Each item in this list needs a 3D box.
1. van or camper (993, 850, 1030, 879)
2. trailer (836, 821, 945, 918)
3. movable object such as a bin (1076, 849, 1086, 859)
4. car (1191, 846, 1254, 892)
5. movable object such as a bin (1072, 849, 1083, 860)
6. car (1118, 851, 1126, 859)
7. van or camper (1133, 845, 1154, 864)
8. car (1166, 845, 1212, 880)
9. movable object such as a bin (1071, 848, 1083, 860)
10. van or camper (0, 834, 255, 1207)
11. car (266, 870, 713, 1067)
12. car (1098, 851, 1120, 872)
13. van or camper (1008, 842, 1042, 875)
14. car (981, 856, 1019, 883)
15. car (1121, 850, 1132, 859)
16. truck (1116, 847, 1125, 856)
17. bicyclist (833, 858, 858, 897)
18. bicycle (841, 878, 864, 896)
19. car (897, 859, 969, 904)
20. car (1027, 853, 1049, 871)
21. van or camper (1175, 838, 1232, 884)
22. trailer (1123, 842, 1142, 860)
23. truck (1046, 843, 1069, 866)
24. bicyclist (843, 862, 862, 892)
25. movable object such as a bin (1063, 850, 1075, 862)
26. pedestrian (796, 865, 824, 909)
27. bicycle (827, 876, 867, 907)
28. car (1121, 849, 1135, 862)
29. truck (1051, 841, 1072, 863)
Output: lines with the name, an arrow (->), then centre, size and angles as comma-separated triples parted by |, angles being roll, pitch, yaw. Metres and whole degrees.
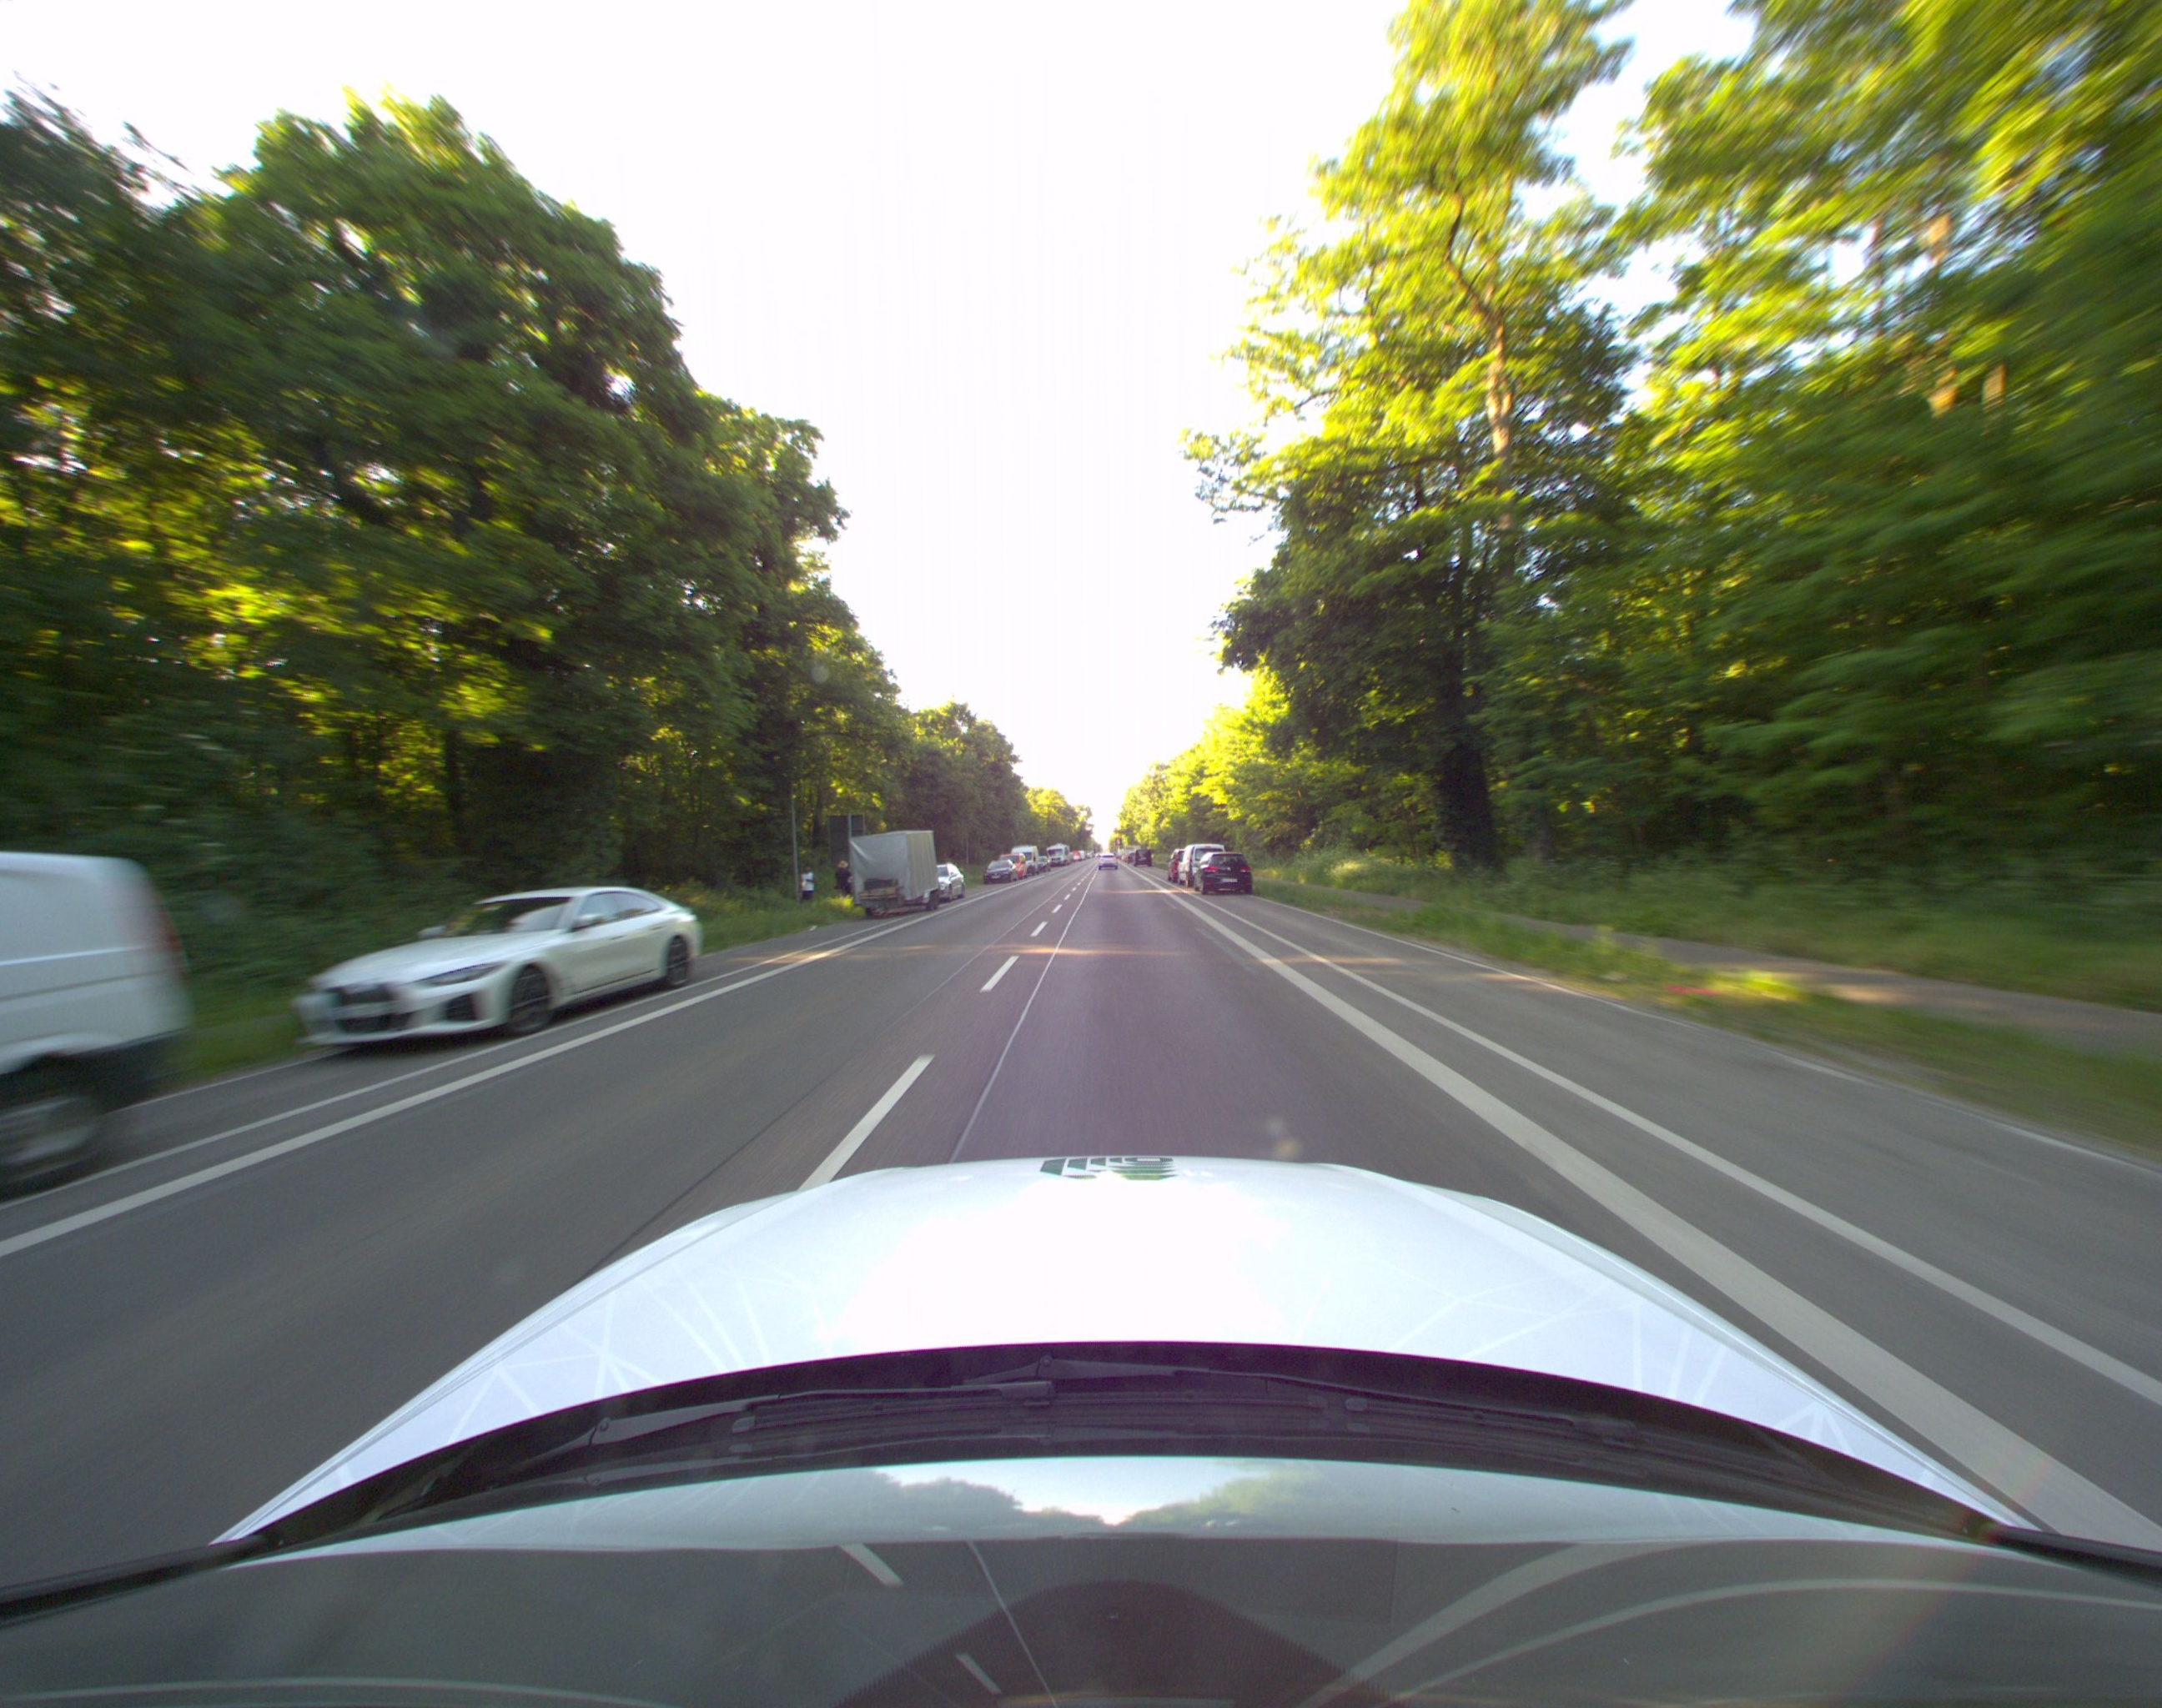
van or camper -> -4.927, 0.722, 58.653 | 1.915, 1.866, 4.865 | -4, 0, 2
trailer -> -5.783, 0.441, 25.345 | 1.986, 2.597, 4.418 | -5, 0, 2
movable object such as a bin -> 0.015, 0.048, 214.501 | 2.313, 2.501, 4.002 | -3, 0, 2
car -> 5.047, 0.503, 29.445 | 1.684, 1.524, 4.151 | -1, 0, 2
movable object such as a bin -> -0.880, 0.154, 192.103 | 2.313, 2.501, 4.002 | -3, 0, 2
car -> 8.557, 0.173, 170.253 | 1.649, 1.478, 3.755 | -3, 0, 2
van or camper -> 6.830, 0.036, 89.312 | 1.986, 1.932, 5.201 | -1, 0, 2
car -> 5.353, 0.387, 40.788 | 1.827, 1.660, 4.340 | -1, 0, 2
movable object such as a bin -> -0.944, 0.053, 177.502 | 2.313, 2.501, 4.002 | -3, 0, 2
van or camper -> -6.512, 0.916, 2.984 | 1.829, 1.911, 4.857 | -4, 0, 1
car -> -6.347, 1.076, 9.595 | 1.768, 1.540, 4.526 | -4, 0, 1
car -> 2.710, 0.678, 77.986 | 2.021, 1.840, 4.031 | -3, 0, 2
van or camper -> -4.716, 0.372, 69.960 | 2.112, 2.572, 6.545 | -3, 0, 2
car -> -5.145, 0.965, 52.401 | 1.725, 1.478, 4.326 | -4, 0, 2
car -> 8.363, 0.061, 150.078 | 1.726, 1.684, 4.002 | -3, 0, 2
truck -> 10.891, -0.763, 225.168 | 2.089, 2.452, 5.682 | -3, 0, 2
bicyclist -> -8.602, 0.857, 29.774 | 0.602, 1.374, 0.799 | -2, 0, 2
bicycle -> -9.854, 1.410, 35.164 | 0.520, 0.712, 1.488 | -2, 0, 2
car -> -5.607, 0.999, 31.487 | 1.791, 1.453, 4.625 | -4, 0, 1
car -> -4.298, 0.773, 82.056 | 1.774, 1.684, 4.380 | -4, 0, 2
van or camper -> 5.279, 0.292, 35.649 | 1.944, 1.815, 4.383 | -2, 0, 2
trailer -> 8.493, -0.520, 134.065 | 2.747, 2.870, 6.591 | -3, 0, 2
truck -> -3.378, 0.031, 118.406 | 2.697, 3.093, 7.993 | -2, 0, 2
bicyclist -> -9.869, 0.984, 35.208 | 0.485, 1.235, 0.974 | -2, 0, 2
movable object such as a bin -> -2.247, 0.372, 153.212 | 1.946, 2.013, 4.002 | -3, 0, 2
pedestrian -> -10.173, 1.232, 30.572 | 0.755, 1.607, 0.716 | -2, 0, 2
bicycle -> -8.553, 1.344, 29.886 | 0.649, 1.008, 2.397 | -2, 0, 2
car -> 6.430, 0.188, 112.021 | 1.834, 1.662, 4.002 | -2, 0, 2
truck -> -3.030, -0.298, 130.139 | 2.697, 3.347, 10.929 | -2, 0, 2
